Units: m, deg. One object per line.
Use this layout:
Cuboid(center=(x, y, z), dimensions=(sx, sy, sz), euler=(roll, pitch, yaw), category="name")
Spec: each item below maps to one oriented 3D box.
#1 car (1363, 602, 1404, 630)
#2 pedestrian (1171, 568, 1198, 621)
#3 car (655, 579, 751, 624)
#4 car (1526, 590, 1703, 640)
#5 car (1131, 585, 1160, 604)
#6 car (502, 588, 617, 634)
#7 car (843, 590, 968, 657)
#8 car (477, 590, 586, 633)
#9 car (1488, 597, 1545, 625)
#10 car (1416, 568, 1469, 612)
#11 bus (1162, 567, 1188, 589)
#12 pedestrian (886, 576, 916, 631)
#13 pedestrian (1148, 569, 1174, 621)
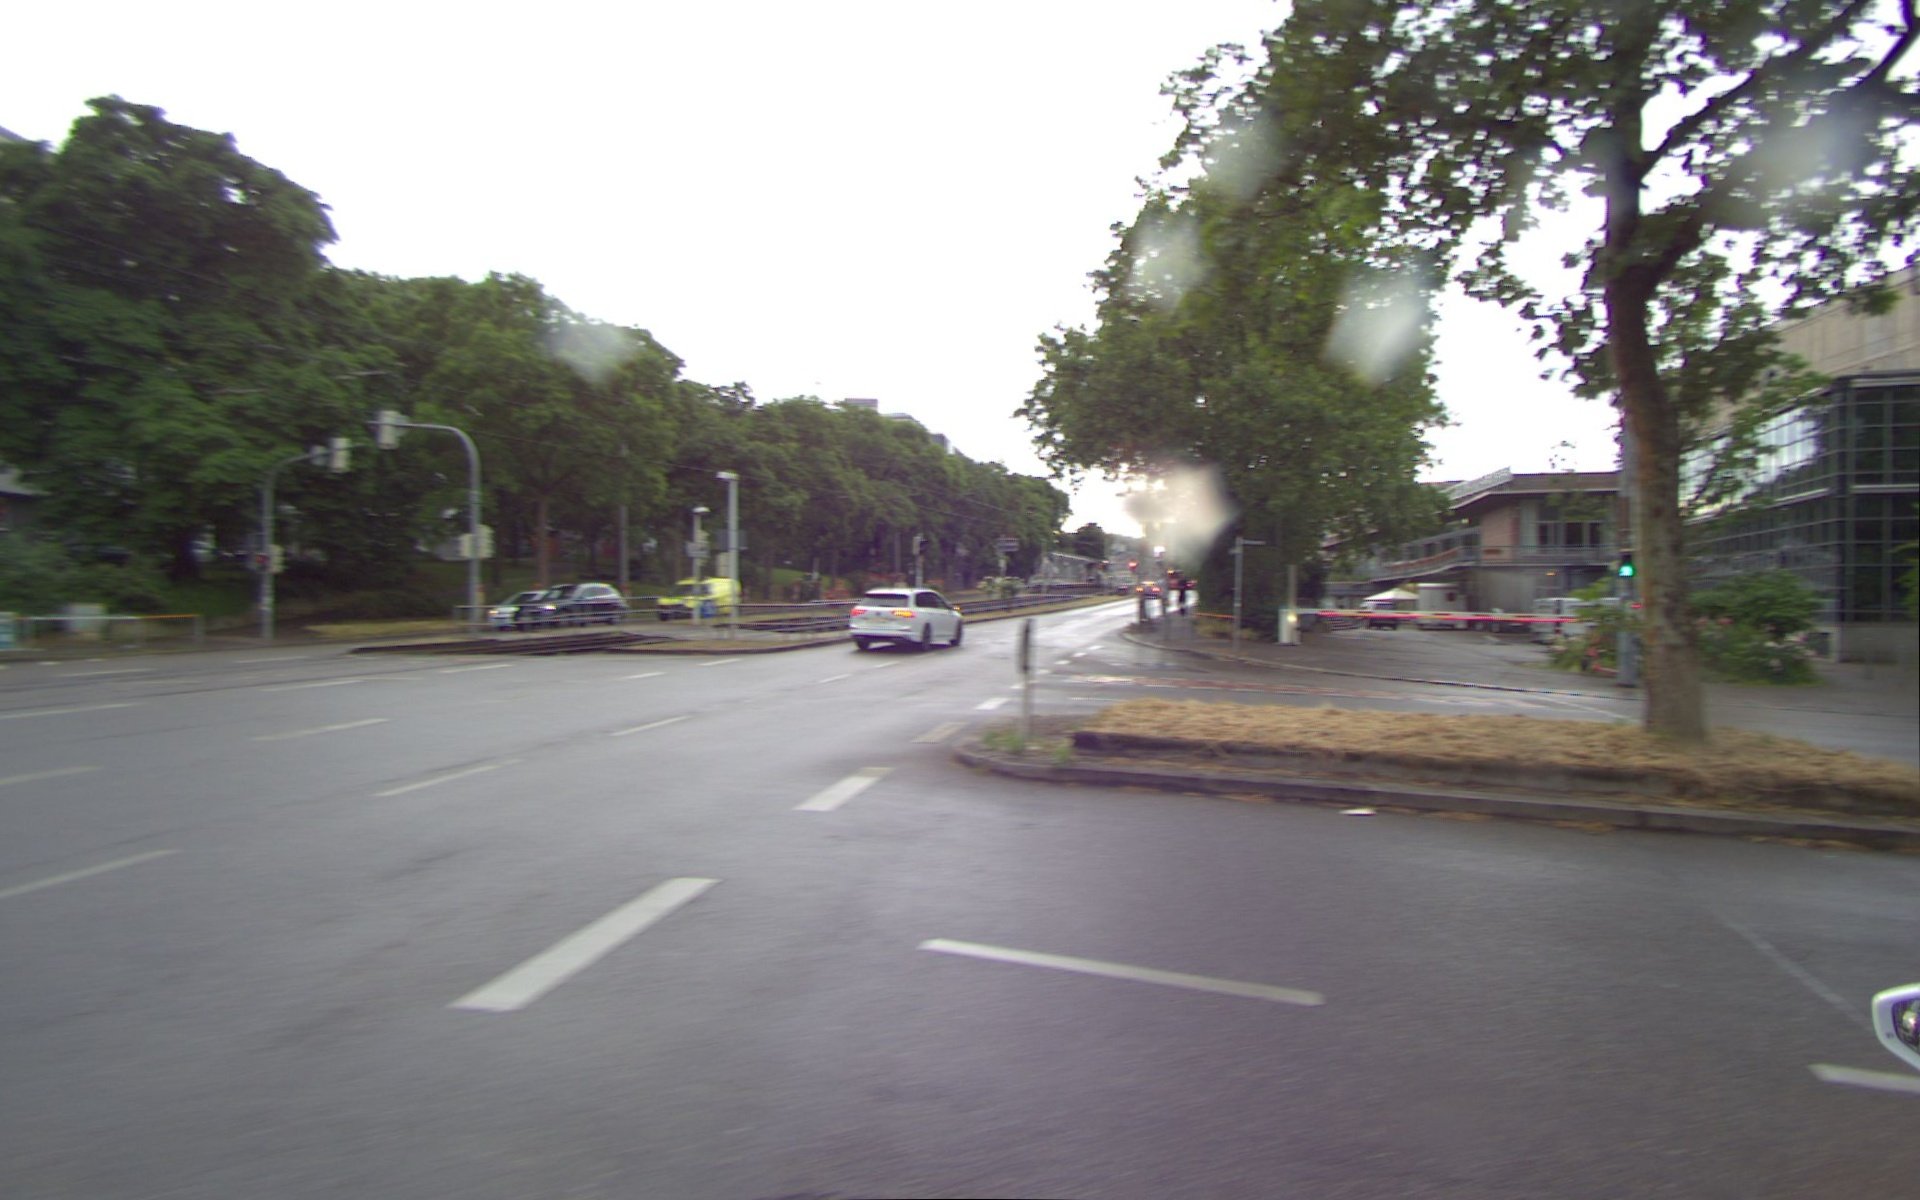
Cuboid(center=(26.828, 0.976, 63.538), dimensions=(1.989, 1.572, 4.342), euler=(1, 1, 29), category="car")
Cuboid(center=(8.902, -0.204, 39.870), dimensions=(0.860, 2.040, 1.077), euler=(-2, 0, 19), category="pedestrian")
Cuboid(center=(-11.281, 0.037, 44.439), dimensions=(1.888, 1.875, 4.566), euler=(-1, 0, 19), category="car")
Cuboid(center=(23.527, 0.523, 36.255), dimensions=(5.112, 1.754, 1.875), euler=(0, 1, 2), category="car")
Cuboid(center=(15.807, -0.464, 85.539), dimensions=(1.960, 1.539, 4.351), euler=(-2, 0, 16), category="car")
Cuboid(center=(-14.351, 0.366, 36.207), dimensions=(1.888, 1.566, 3.681), euler=(-1, 0, 19), category="car")
Cuboid(center=(-1.224, 0.541, 24.749), dimensions=(1.765, 1.461, 4.477), euler=(-2, -1, 15), category="car")
Cuboid(center=(-16.660, 0.425, 39.230), dimensions=(1.888, 1.566, 3.681), euler=(-1, 0, 19), category="car")
Cuboid(center=(33.840, 0.617, 61.215), dimensions=(1.985, 1.572, 4.351), euler=(0, 1, 14), category="car")
Cuboid(center=(31.179, -0.678, 65.166), dimensions=(2.688, 2.731, 6.918), euler=(1, 1, 23), category="car")
Cuboid(center=(34.188, -3.447, 159.265), dimensions=(3.529, 3.213, 10.424), euler=(-2, 0, 14), category="bus")
Cuboid(center=(-1.999, 0.114, 33.878), dimensions=(0.854, 1.827, 0.868), euler=(0, 1, 8), category="pedestrian")
Cuboid(center=(8.034, -0.206, 40.067), dimensions=(0.801, 2.040, 1.077), euler=(-2, 0, 19), category="pedestrian")
